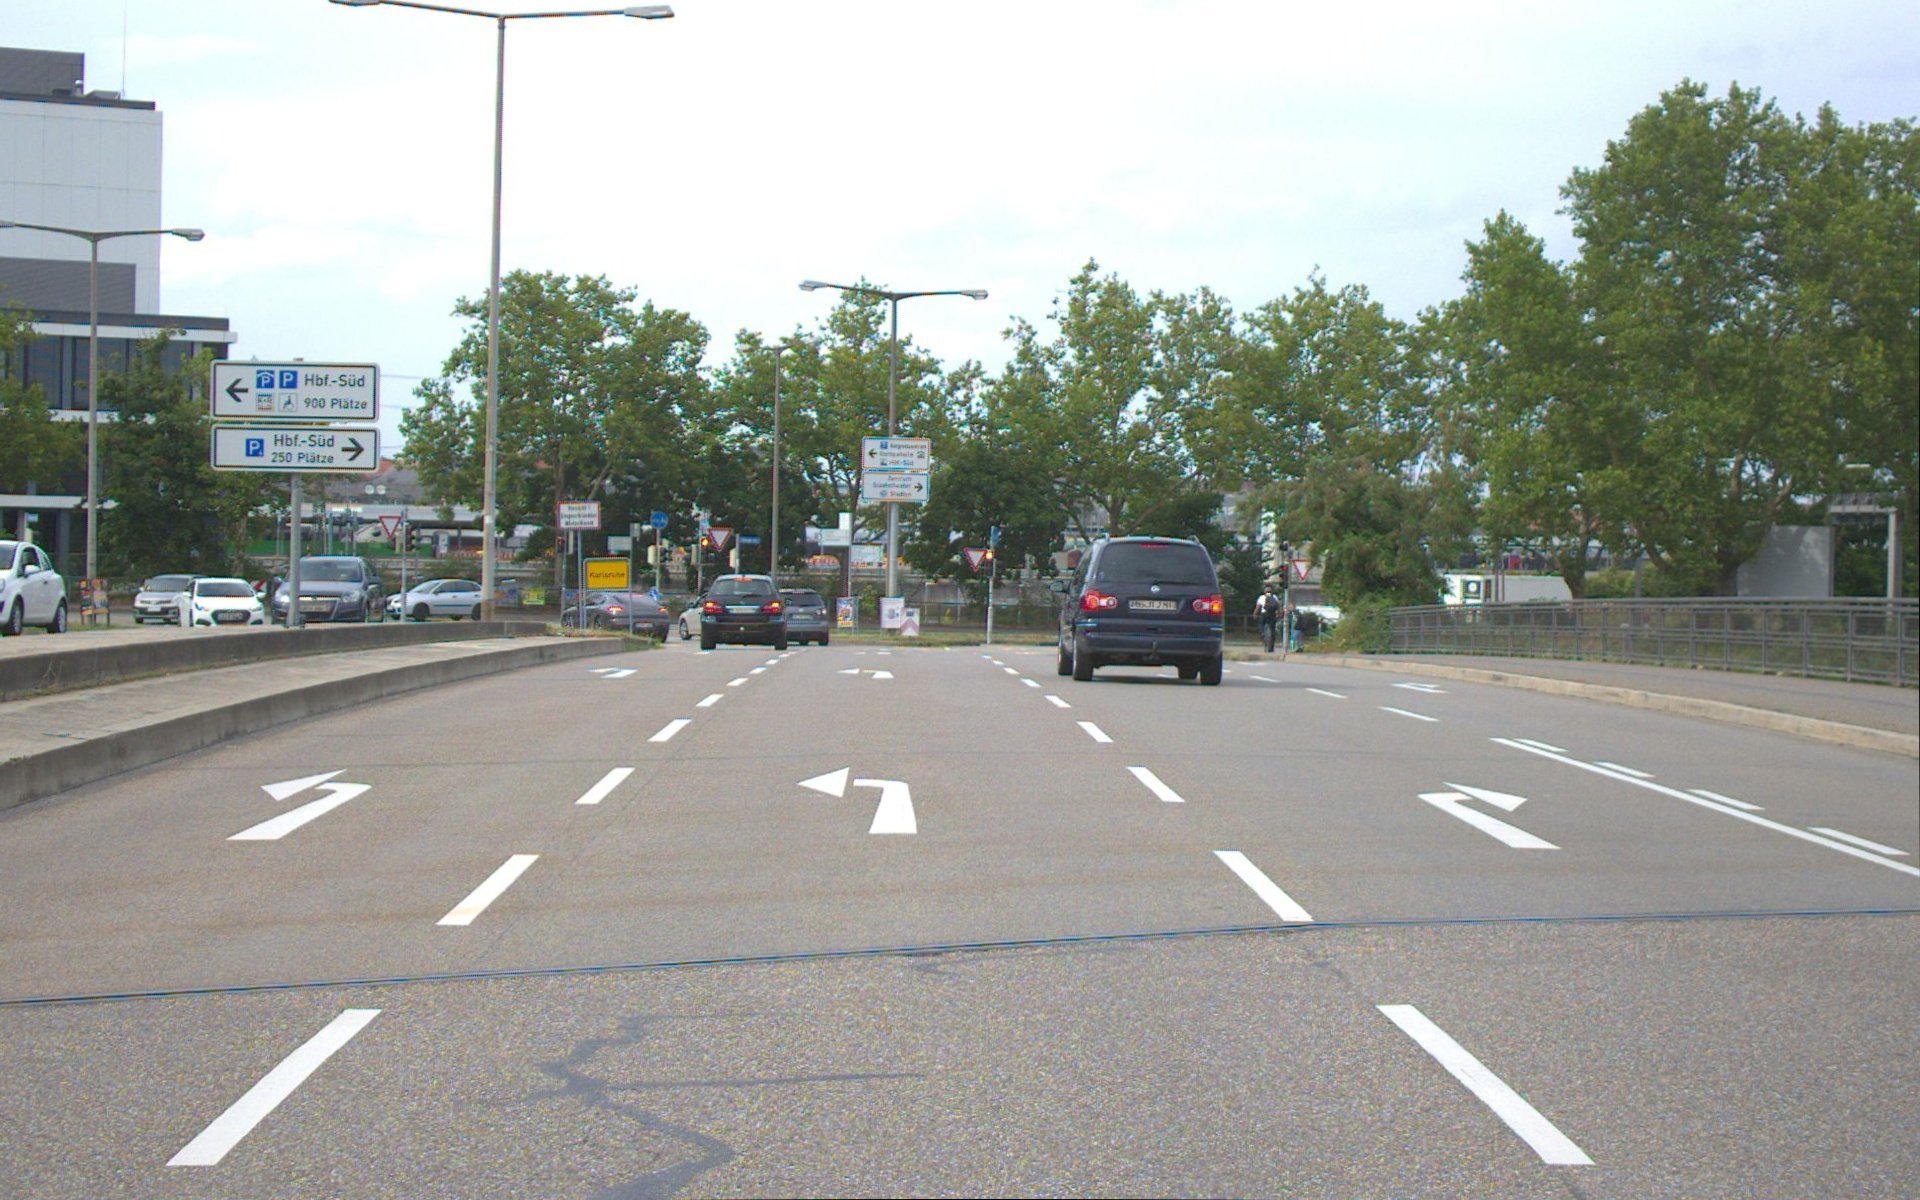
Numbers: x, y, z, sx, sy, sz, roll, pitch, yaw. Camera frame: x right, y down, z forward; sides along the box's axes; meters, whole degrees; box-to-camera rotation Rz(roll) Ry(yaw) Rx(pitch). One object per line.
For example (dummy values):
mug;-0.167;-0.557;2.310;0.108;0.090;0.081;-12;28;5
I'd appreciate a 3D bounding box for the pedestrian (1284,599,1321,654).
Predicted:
pedestrian;10.894;0.854;109.263;1.047;1.704;0.853;2;0;10

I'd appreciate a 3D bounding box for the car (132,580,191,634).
car;-25.110;0.241;108.165;1.741;1.653;4.080;0;-1;-12

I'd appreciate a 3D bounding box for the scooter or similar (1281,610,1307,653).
scooter or similar;9.385;0.883;96.616;0.396;1.179;1.281;1;-1;-8

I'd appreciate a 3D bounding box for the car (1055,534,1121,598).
car;3.538;-0.928;95.266;1.690;1.580;4.156;3;-1;1

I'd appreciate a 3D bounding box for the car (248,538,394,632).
car;-11.803;-0.280;63.747;1.887;1.634;4.585;1;0;-1

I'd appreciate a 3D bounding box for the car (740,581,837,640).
car;-4.698;0.287;93.422;1.740;1.541;4.083;1;0;-16

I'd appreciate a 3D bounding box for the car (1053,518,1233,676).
car;2.159;-0.005;41.555;1.750;1.719;4.138;3;-1;-2

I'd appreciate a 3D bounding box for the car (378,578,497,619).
car;-18.398;-0.049;121.088;3.848;1.405;1.621;0;-1;-34

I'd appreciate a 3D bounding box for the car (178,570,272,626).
car;-19.167;-0.062;89.483;1.918;1.410;4.882;0;0;-18

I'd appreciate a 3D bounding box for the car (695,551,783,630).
car;-4.695;-0.223;72.818;1.757;1.570;4.037;2;0;-4

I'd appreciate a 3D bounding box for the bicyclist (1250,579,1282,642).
bicyclist;8.387;0.288;94.318;0.810;1.690;1.115;1;0;3

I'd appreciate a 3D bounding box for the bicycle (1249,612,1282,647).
bicycle;8.383;0.800;94.383;0.809;0.949;2.235;1;0;3

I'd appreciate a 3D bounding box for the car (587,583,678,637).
car;-9.149;0.261;95.784;1.818;1.409;4.778;2;0;-14

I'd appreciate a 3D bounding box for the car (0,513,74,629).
car;-14.422;-0.448;50.410;1.887;1.634;4.218;1;0;-2
